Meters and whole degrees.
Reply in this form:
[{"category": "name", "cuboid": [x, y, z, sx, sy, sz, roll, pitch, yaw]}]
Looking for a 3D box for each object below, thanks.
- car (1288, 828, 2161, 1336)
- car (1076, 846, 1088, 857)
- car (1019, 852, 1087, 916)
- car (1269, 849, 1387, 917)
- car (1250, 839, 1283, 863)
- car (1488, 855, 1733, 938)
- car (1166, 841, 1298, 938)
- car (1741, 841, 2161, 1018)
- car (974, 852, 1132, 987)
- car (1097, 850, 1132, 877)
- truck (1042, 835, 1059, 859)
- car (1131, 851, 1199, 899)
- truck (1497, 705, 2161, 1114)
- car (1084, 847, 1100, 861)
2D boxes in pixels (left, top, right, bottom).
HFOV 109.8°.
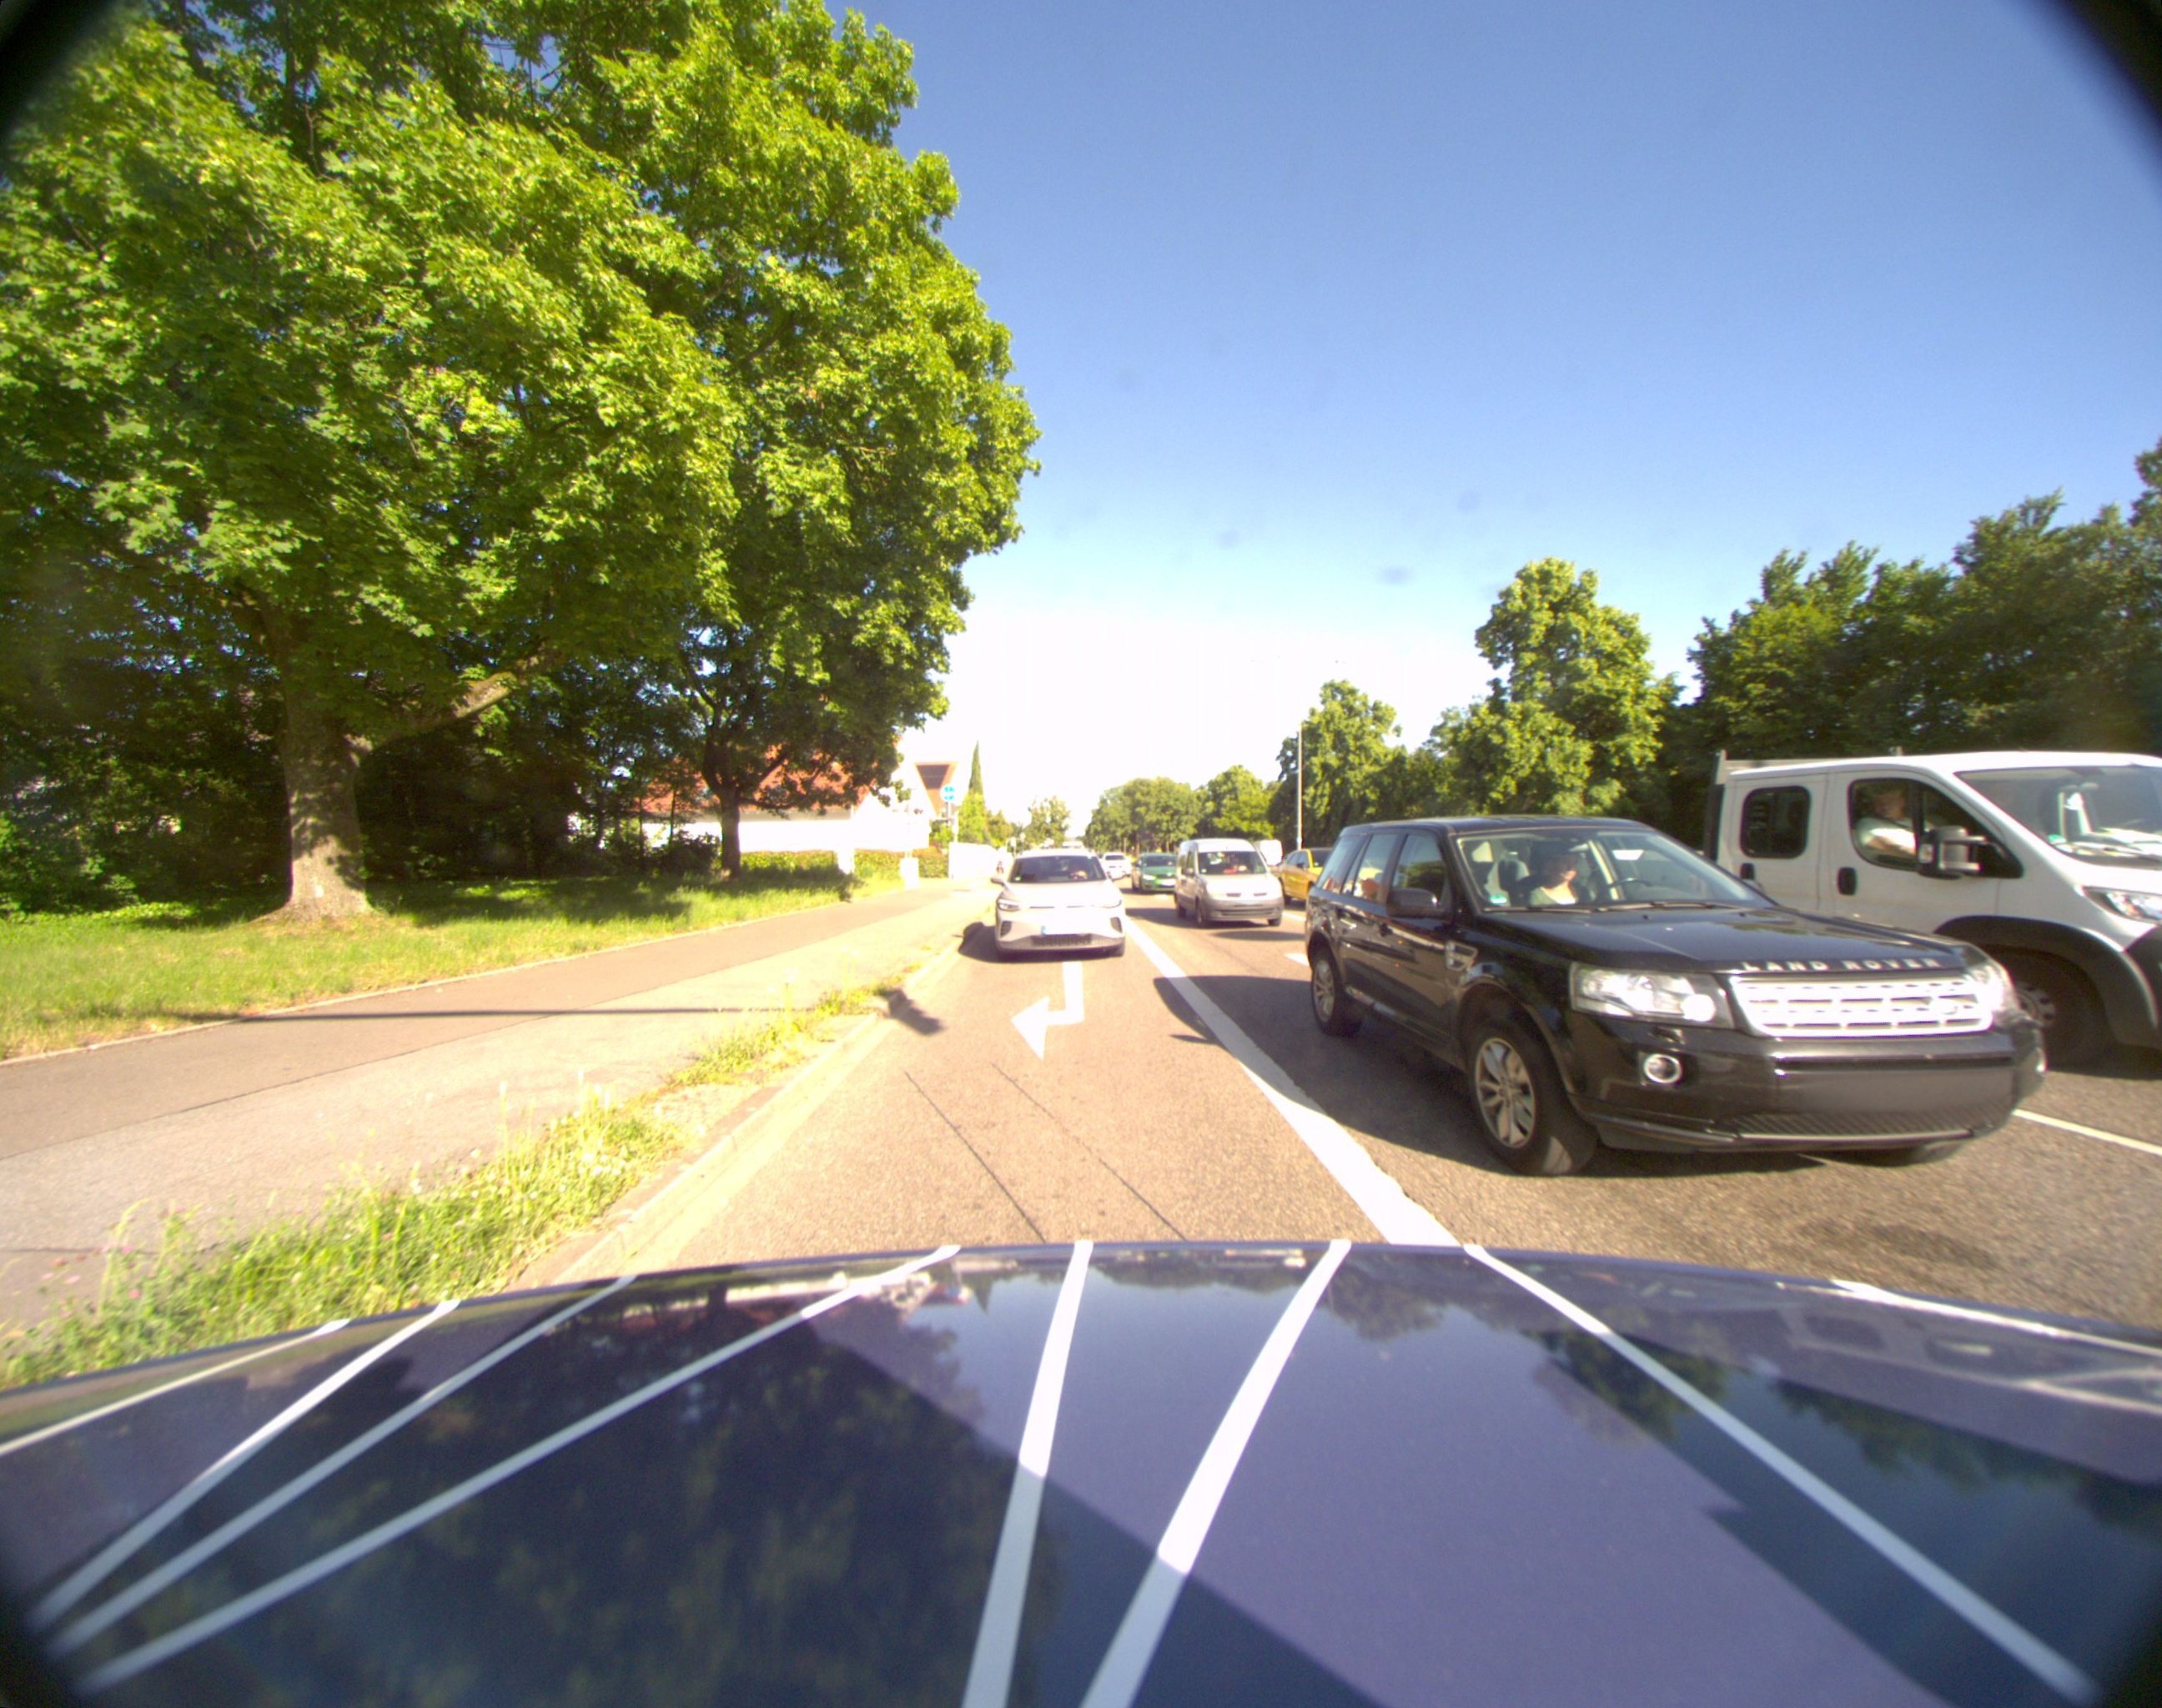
[{"category": "car", "cuboid": [2.829, 0.746, 4.743, 1.826, 1.674, 4.391, -1, 1, 0]}, {"category": "car", "cuboid": [0.135, -0.424, 134.007, 1.841, 1.787, 3.911, -2, 1, -1]}, {"category": "car", "cuboid": [-0.759, 0.765, 21.584, 1.692, 1.564, 4.120, -2, 1, -1]}, {"category": "car", "cuboid": [6.207, 0.663, 19.546, 1.726, 1.492, 4.000, -2, 1, 1]}, {"category": "car", "cuboid": [17.371, -0.271, 71.329, 1.917, 2.073, 4.538, -2, 1, -1]}, {"category": "car", "cuboid": [10.349, 0.734, 15.348, 1.835, 1.397, 4.354, 0, 1, -1]}, {"category": "car", "cuboid": [3.030, 0.640, 16.168, 1.919, 1.718, 4.364, -2, 1, 1]}, {"category": "car", "cuboid": [10.426, 0.642, 8.765, 1.878, 1.565, 4.242, 0, 1, -1]}, {"category": "car", "cuboid": [-0.344, 0.847, 12.029, 1.992, 1.631, 4.364, -2, 1, 1]}, {"category": "car", "cuboid": [1.991, 0.551, 45.918, 1.919, 1.477, 4.364, -2, 1, 1]}, {"category": "truck", "cuboid": [-3.940, -0.908, 98.426, 1.999, 3.059, 5.806, -2, 1, -2]}, {"category": "car", "cuboid": [2.893, 0.677, 27.109, 1.919, 1.477, 4.364, -2, 1, 1]}, {"category": "truck", "cuboid": [7.061, 0.292, 7.350, 2.190, 2.296, 6.772, 0, 0, -2]}, {"category": "car", "cuboid": [1.376, -0.016, 97.791, 1.798, 1.787, 3.911, -2, 1, -1]}]
